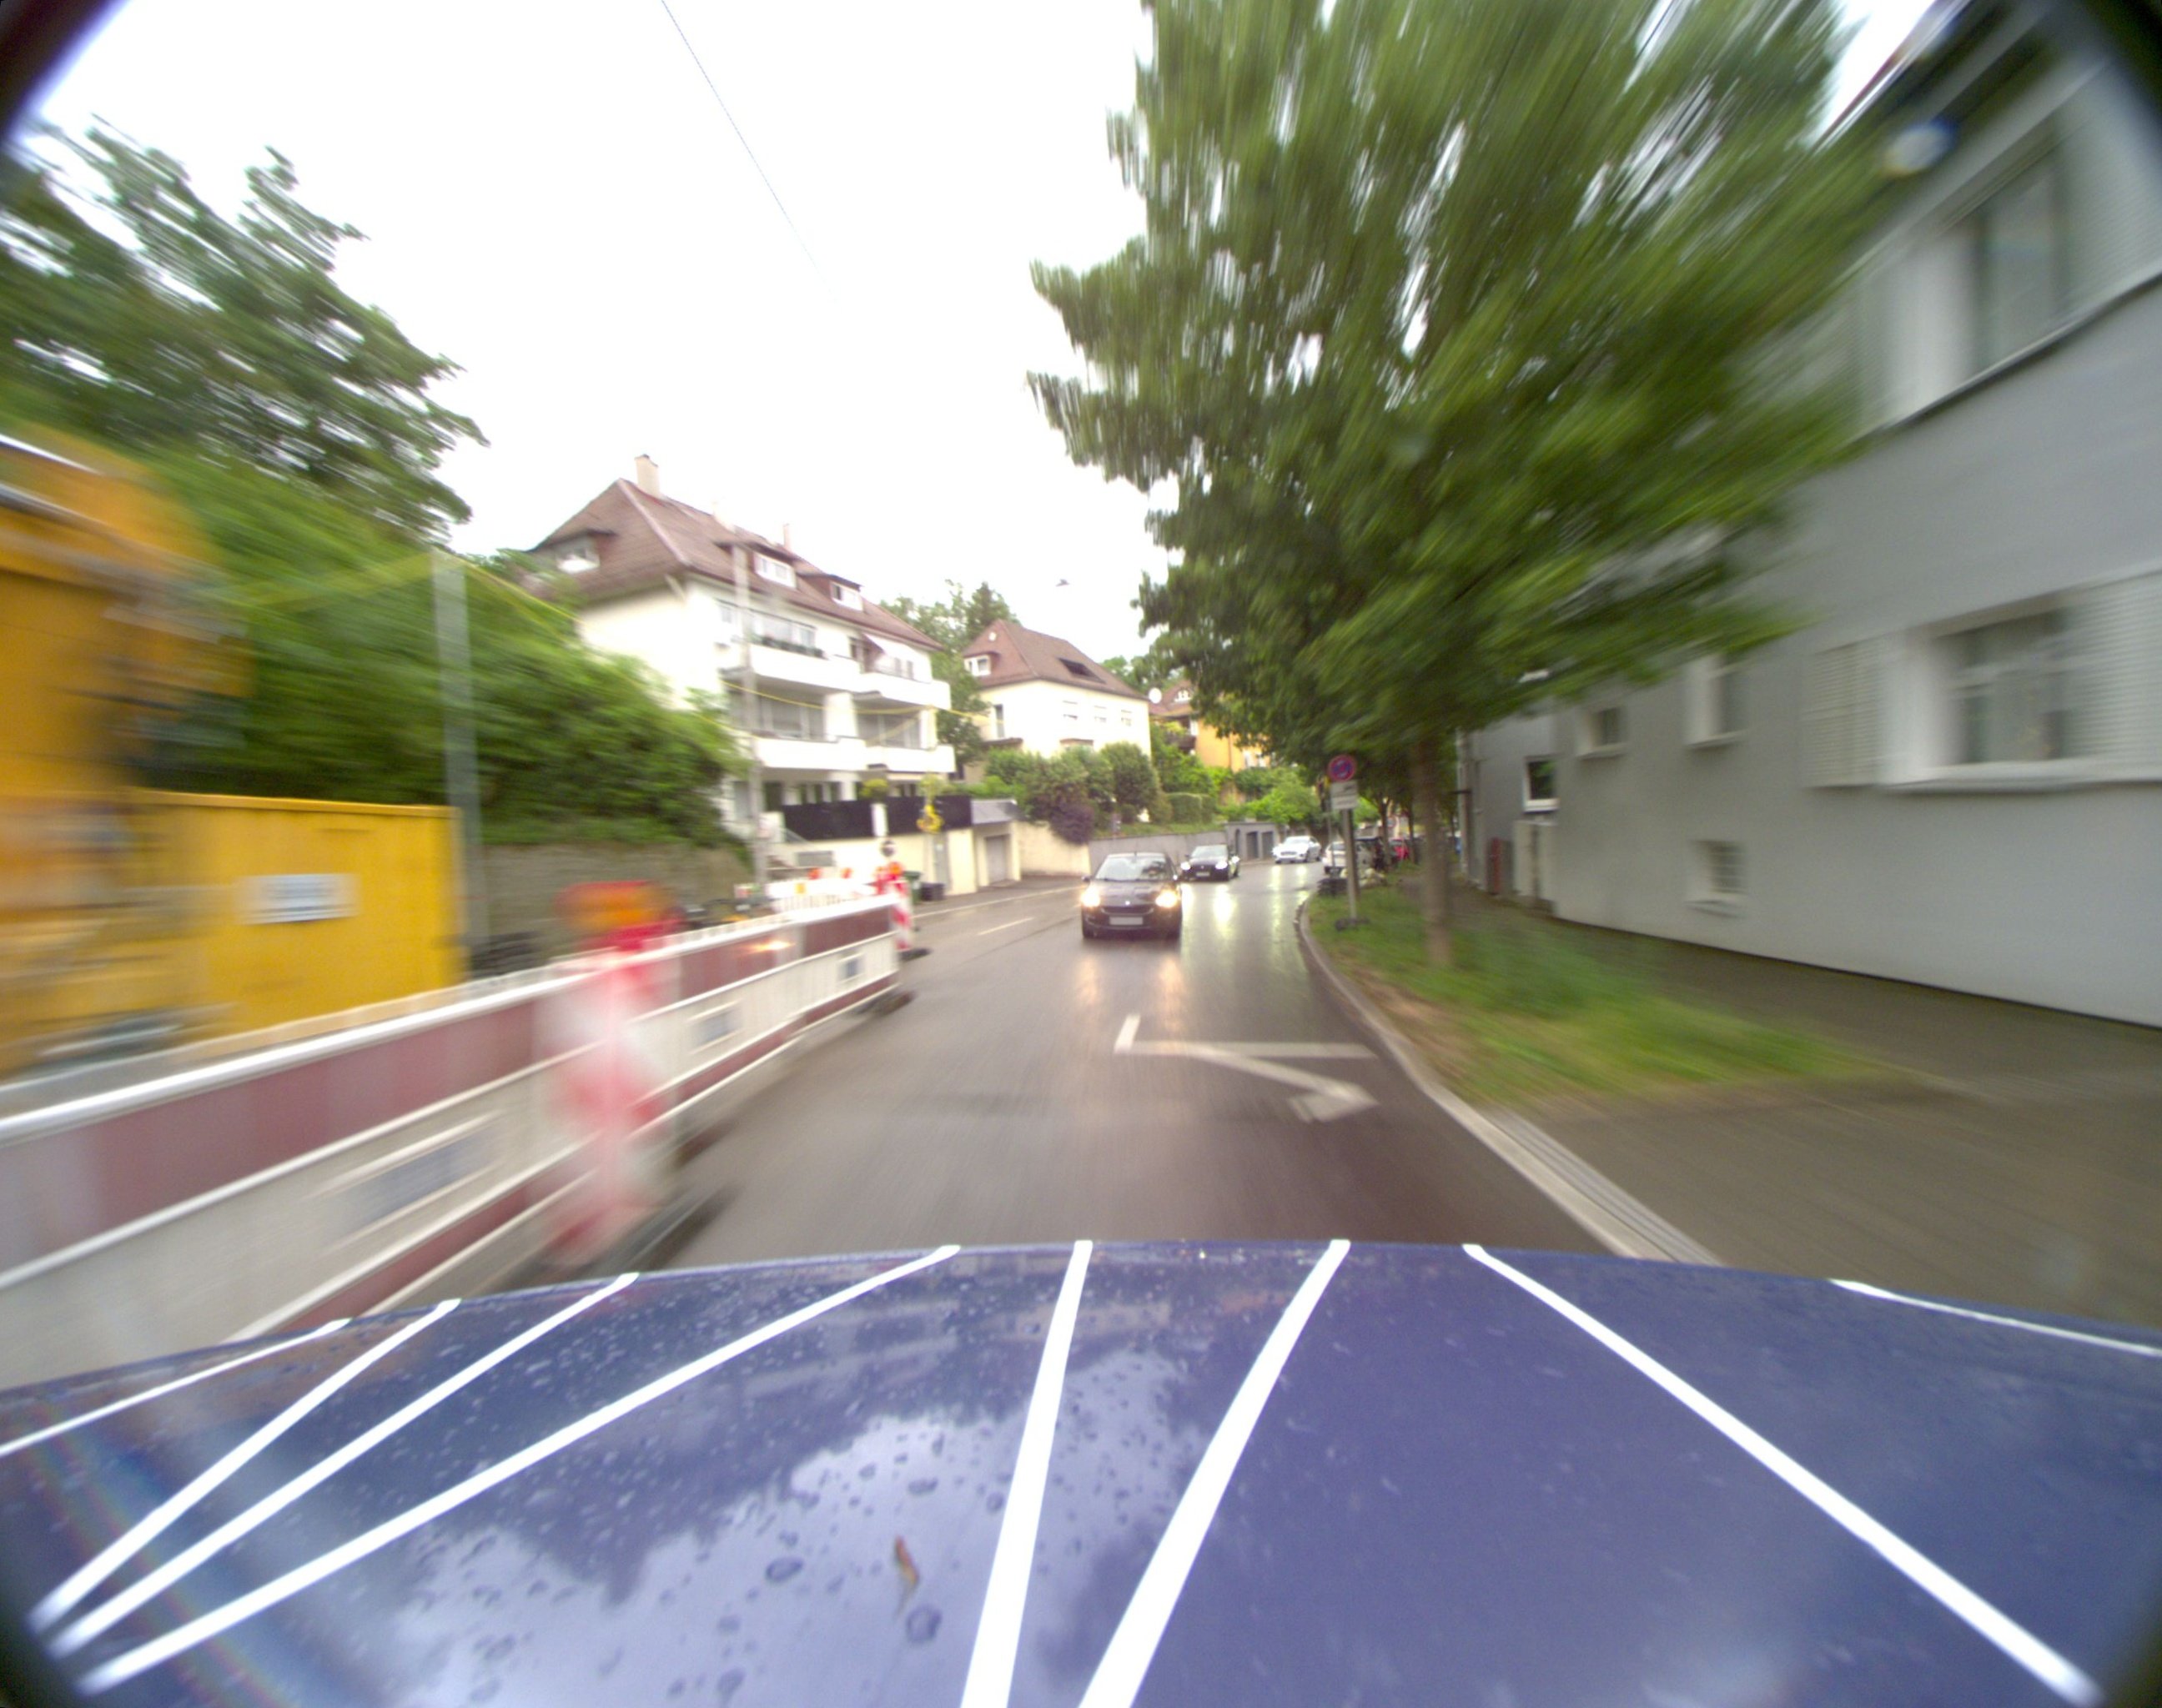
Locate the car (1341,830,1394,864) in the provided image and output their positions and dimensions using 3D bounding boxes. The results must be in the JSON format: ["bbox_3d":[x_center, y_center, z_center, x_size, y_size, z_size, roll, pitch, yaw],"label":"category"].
[{"bbox_3d":[15.117,-0.422,39.957,1.682,1.600,4.584,1,3,33],"label":"car"}]

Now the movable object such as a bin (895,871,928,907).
[{"bbox_3d":[-5.046,1.046,22.641,0.720,1.026,0.593,-1,3,27],"label":"movable object such as a bin"}]

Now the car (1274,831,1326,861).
[{"bbox_3d":[13.601,-0.539,46.982,2.008,1.653,4.452,1,3,31],"label":"car"}]

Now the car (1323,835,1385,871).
[{"bbox_3d":[12.876,-0.103,35.674,1.682,1.500,4.323,1,3,35],"label":"car"}]

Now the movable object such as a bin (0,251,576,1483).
[{"bbox_3d":[-5.065,0.087,1.223,2.825,3.991,7.329,-2,1,6],"label":"movable object such as a bin"}]

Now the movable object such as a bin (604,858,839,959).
[{"bbox_3d":[-6.585,0.921,14.512,1.997,1.510,4.003,-3,1,11],"label":"movable object such as a bin"}]

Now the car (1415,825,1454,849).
[{"bbox_3d":[24.064,-1.172,51.686,1.555,1.503,3.390,4,5,39],"label":"car"}]

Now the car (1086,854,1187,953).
[{"bbox_3d":[1.112,0.811,13.995,1.577,1.444,3.587,-2,2,7],"label":"car"}]

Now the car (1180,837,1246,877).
[{"bbox_3d":[5.453,0.076,30.986,1.805,1.480,4.023,-2,0,22],"label":"car"}]

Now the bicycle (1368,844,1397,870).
[{"bbox_3d":[12.764,0.103,32.156,0.435,1.024,1.909,0,3,44],"label":"bicycle"}]

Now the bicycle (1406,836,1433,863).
[{"bbox_3d":[16.501,-0.228,37.020,0.618,1.244,1.909,0,2,42],"label":"bicycle"}]

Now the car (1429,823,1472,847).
[{"bbox_3d":[27.016,-1.432,55.535,1.664,1.481,4.483,4,6,41],"label":"car"}]
